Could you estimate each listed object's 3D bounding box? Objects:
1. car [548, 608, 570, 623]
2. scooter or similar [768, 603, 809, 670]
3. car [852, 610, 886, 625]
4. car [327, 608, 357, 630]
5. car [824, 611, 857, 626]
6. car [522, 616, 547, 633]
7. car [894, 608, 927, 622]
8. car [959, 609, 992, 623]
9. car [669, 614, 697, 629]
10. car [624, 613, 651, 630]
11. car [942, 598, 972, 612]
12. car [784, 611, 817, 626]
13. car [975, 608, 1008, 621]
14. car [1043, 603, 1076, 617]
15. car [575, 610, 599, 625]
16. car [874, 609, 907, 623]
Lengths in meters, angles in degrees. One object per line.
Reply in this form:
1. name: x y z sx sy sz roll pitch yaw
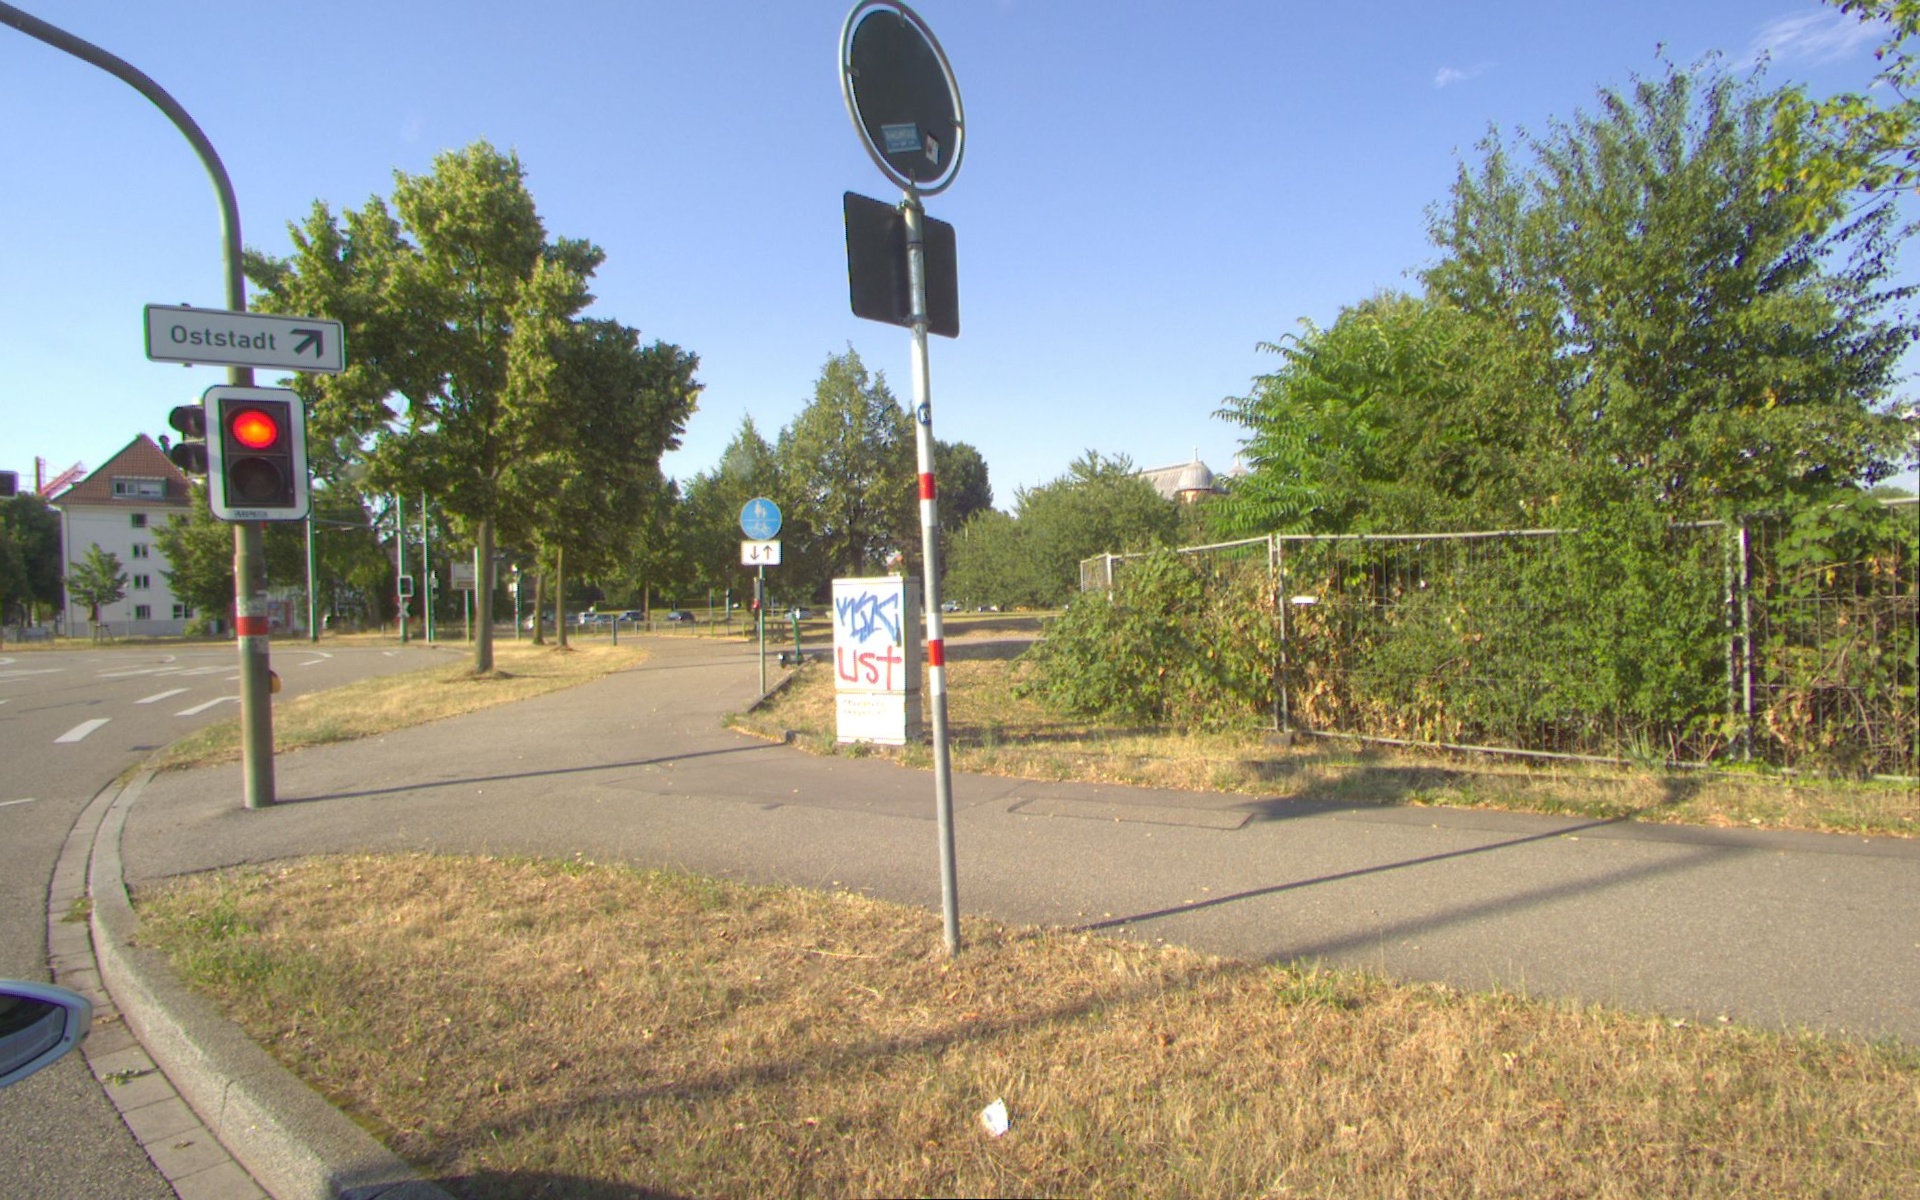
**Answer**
1. car: -39.265 1.519 98.009 1.583 1.420 3.950 -1 0 -29
2. scooter or similar: -3.286 0.683 19.236 0.336 1.175 1.169 -4 2 8
3. car: -9.510 1.824 104.216 1.802 1.421 3.976 -3 1 -33
4. car: -48.154 1.463 78.040 1.751 1.639 3.950 -1 0 -29
5. car: -12.346 1.921 103.163 1.803 1.421 3.976 -1 -1 -33
6. car: -36.766 2.094 86.418 1.583 1.420 3.950 -1 0 -29
7. car: -5.304 1.602 106.806 1.803 1.421 3.976 -1 -1 -33
8. car: 1.701 1.773 111.541 1.803 1.421 3.976 -1 -1 -33
9. car: -25.661 2.034 92.786 1.583 1.327 3.950 -1 -1 -29
10. car: -29.177 1.966 90.566 1.583 1.420 3.950 -1 0 -29
11. car: -0.381 0.607 123.627 1.803 1.694 3.976 -1 0 -33
12. car: -15.942 1.867 99.896 1.803 1.421 3.976 -1 -1 -33
13. car: 3.540 1.623 112.933 1.803 1.421 3.976 -1 -1 -33
14. car: 11.750 1.170 118.432 1.803 1.590 3.974 -1 1 -33
15. car: -37.141 1.729 99.664 1.583 1.420 3.950 -1 0 -29
16. car: -7.356 1.702 105.457 1.803 1.421 3.976 -1 -1 -33
